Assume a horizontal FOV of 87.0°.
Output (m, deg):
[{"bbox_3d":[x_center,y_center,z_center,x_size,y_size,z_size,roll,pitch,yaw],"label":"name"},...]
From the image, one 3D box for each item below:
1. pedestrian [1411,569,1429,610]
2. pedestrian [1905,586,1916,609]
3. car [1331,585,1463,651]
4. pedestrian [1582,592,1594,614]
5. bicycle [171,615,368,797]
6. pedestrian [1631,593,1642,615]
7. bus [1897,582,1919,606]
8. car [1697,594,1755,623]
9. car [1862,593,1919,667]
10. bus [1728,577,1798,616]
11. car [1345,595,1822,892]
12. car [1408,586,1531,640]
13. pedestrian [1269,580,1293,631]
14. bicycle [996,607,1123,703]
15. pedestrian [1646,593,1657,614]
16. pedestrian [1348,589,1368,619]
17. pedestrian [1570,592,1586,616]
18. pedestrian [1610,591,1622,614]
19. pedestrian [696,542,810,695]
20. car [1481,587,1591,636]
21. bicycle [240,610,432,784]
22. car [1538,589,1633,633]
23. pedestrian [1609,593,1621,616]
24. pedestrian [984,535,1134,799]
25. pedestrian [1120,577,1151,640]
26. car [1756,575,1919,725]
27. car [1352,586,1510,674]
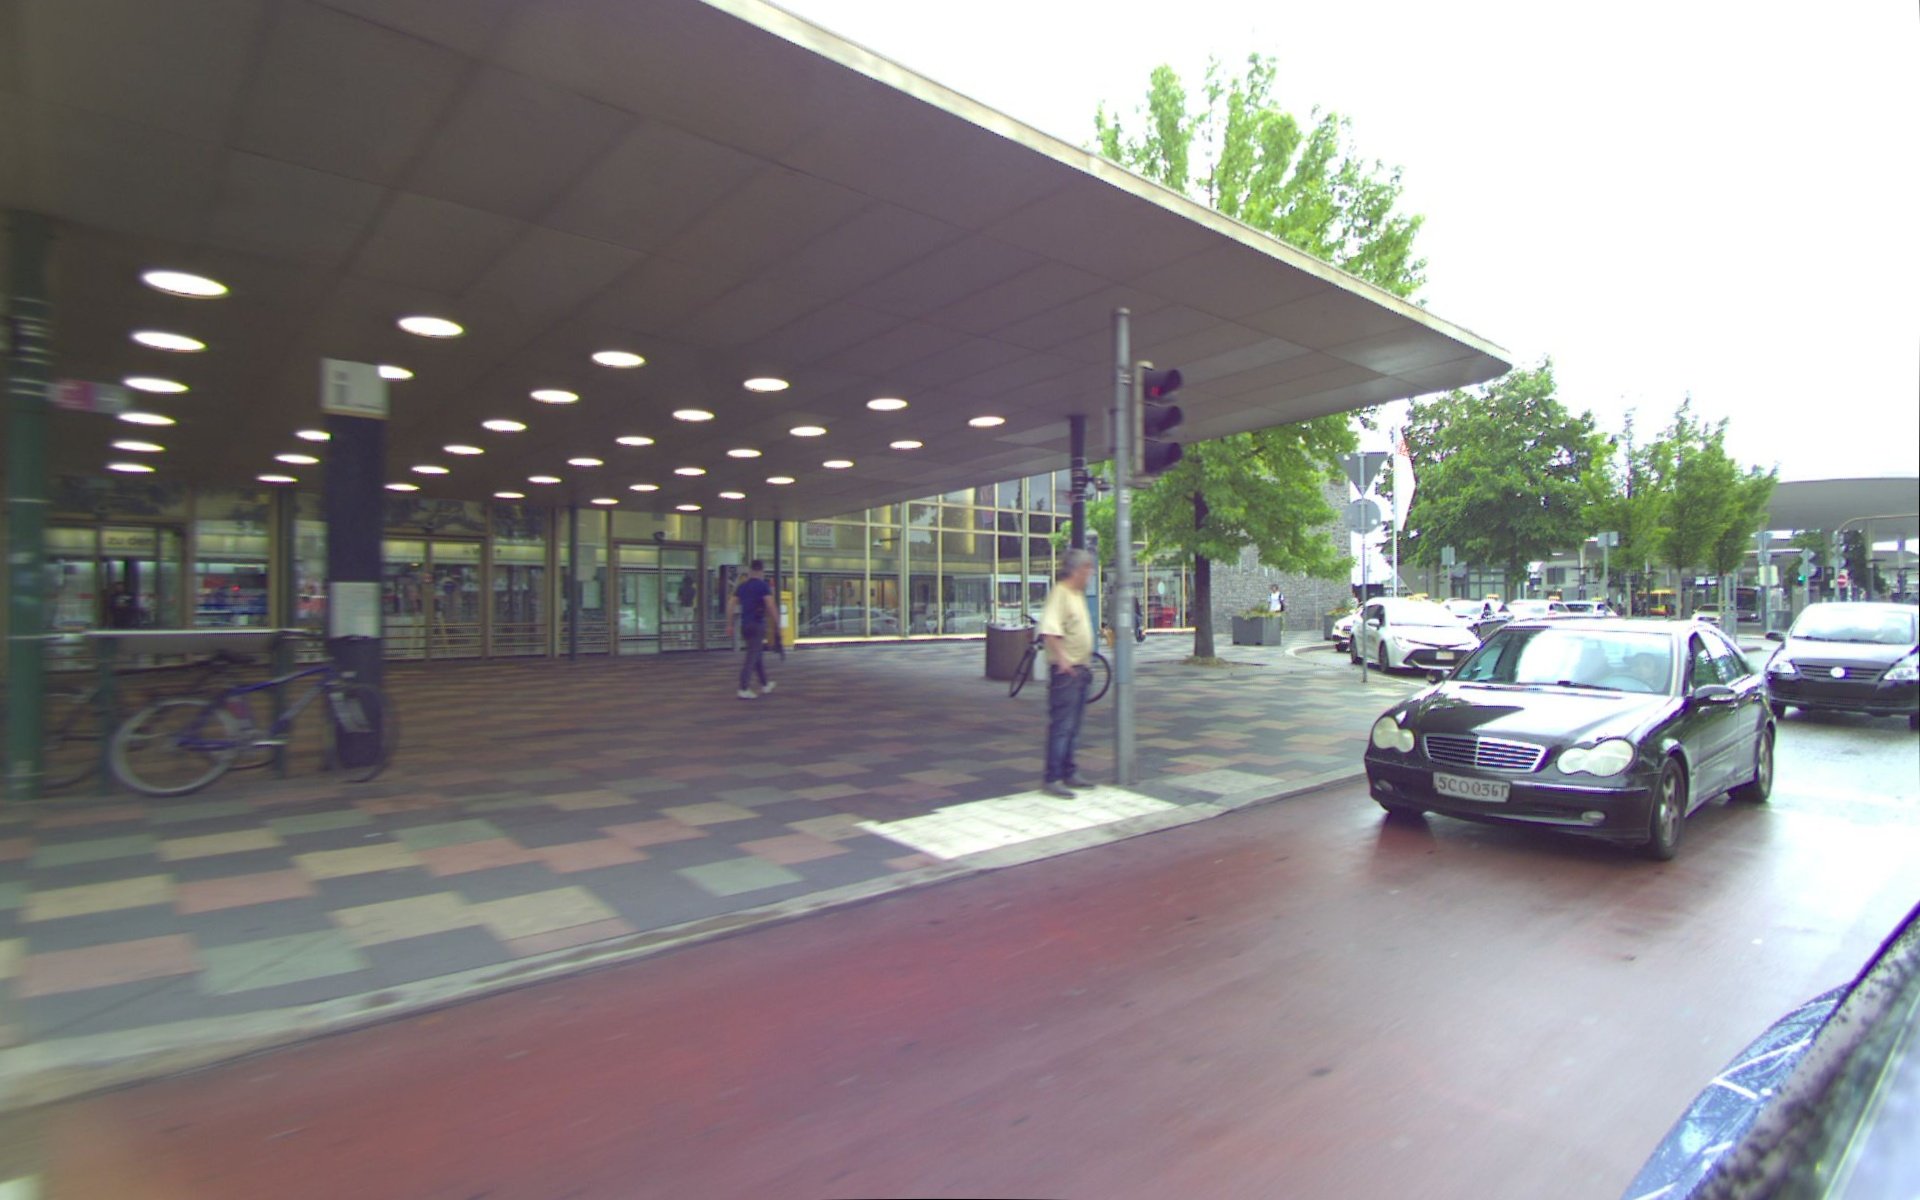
[{"bbox_3d":[25.034,-0.562,55.078,0.787,2.191,0.719,2,1,18],"label":"pedestrian"},{"bbox_3d":[74.179,-0.182,78.986,0.441,1.786,0.533,1,0,23],"label":"pedestrian"},{"bbox_3d":[12.285,0.441,28.248,1.992,1.619,4.885,3,2,41],"label":"car"},{"bbox_3d":[44.231,0.183,71.295,0.469,1.533,0.536,1,0,-7],"label":"pedestrian"},{"bbox_3d":[-4.767,0.669,6.943,1.819,1.069,0.416,1,1,32],"label":"bicycle"},{"bbox_3d":[48.295,0.299,72.236,0.525,1.533,0.479,1,1,-38],"label":"pedestrian"},{"bbox_3d":[128.016,-0.784,135.200,3.568,3.137,10.600,1,1,40],"label":"bus"},{"bbox_3d":[47.605,0.489,62.862,4.463,1.702,1.997,0,2,-42],"label":"car"},{"bbox_3d":[22.608,0.669,23.648,3.979,1.578,1.810,0,2,-41],"label":"car"},{"bbox_3d":[72.829,-0.237,91.680,11.713,3.121,2.874,2,1,-42],"label":"bus"},{"bbox_3d":[4.713,0.736,7.355,4.374,1.483,1.698,0,2,-41],"label":"car"},{"bbox_3d":[16.587,0.388,32.835,4.874,1.620,1.996,0,0,-43],"label":"car"},{"bbox_3d":[10.926,0.176,34.433,0.640,1.688,0.770,1,1,27],"label":"pedestrian"},{"bbox_3d":[1.247,0.667,13.039,0.413,1.069,1.831,0,2,-41],"label":"bicycle"},{"bbox_3d":[51.157,0.274,74.853,0.525,1.533,0.479,1,1,-38],"label":"pedestrian"},{"bbox_3d":[21.862,0.197,55.574,0.768,1.599,0.700,2,2,41],"label":"pedestrian"},{"bbox_3d":[42.549,0.269,69.689,0.726,1.615,0.643,1,1,-27],"label":"pedestrian"},{"bbox_3d":[45.022,0.163,69.464,0.470,1.533,0.535,1,1,-37],"label":"pedestrian"},{"bbox_3d":[-2.653,0.203,12.963,1.169,1.858,0.858,-1,2,-41],"label":"pedestrian"},{"bbox_3d":[21.160,0.407,37.110,4.872,1.619,1.997,0,2,-41],"label":"car"},{"bbox_3d":[-4.558,0.647,7.340,1.819,1.069,0.416,2,2,32],"label":"bicycle"},{"bbox_3d":[25.308,0.395,40.885,4.817,1.619,1.883,0,2,-41],"label":"car"},{"bbox_3d":[44.506,0.328,68.740,0.470,1.533,0.535,1,1,-37],"label":"pedestrian"},{"bbox_3d":[0.721,0.436,7.331,0.745,1.768,0.824,1,1,41],"label":"pedestrian"},{"bbox_3d":[4.755,0.225,27.402,0.710,1.646,0.797,1,1,5],"label":"pedestrian"},{"bbox_3d":[12.339,0.573,13.640,4.086,1.723,1.874,0,2,-42],"label":"car"},{"bbox_3d":[9.700,0.525,21.271,1.735,1.565,4.765,1,1,9],"label":"car"}]
